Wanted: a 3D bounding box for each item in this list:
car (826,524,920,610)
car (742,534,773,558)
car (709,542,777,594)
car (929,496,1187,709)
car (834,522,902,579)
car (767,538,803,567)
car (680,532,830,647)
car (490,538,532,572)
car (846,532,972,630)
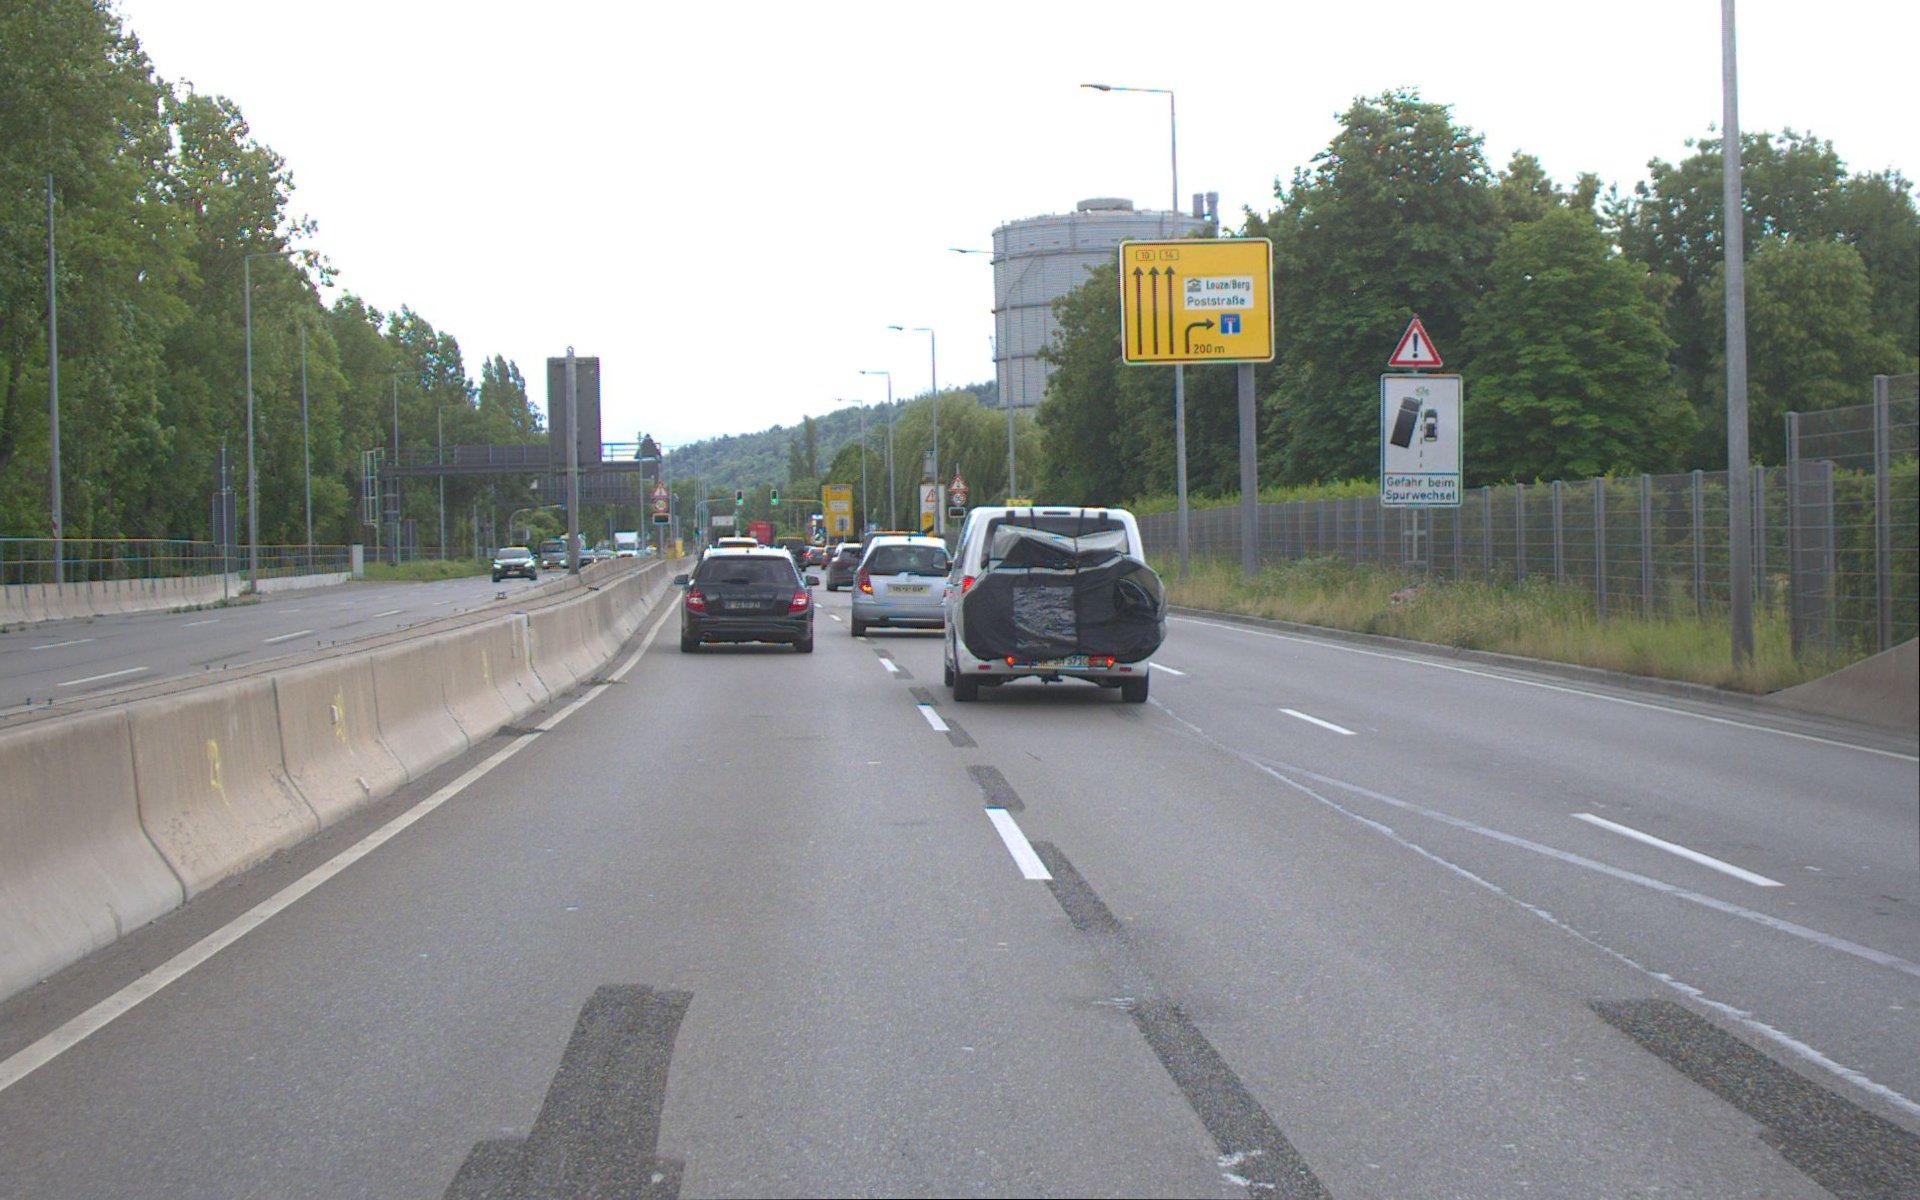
[{"bbox_3d":[-1.955,-0.750,76.203,1.993,1.853,4.001,0,1,-3],"label":"car"},{"bbox_3d":[-14.258,-3.816,241.499,1.993,1.648,4.001,0,1,-6],"label":"car"},{"bbox_3d":[-7.206,-1.046,114.380,1.993,1.667,4.000,1,0,0],"label":"car"},{"bbox_3d":[0.855,-0.035,33.660,1.993,1.852,5.642,2,1,-3],"label":"car"},{"bbox_3d":[-2.771,-1.501,103.106,1.993,1.663,4.001,0,1,-2],"label":"car"},{"bbox_3d":[-10.234,-2.794,200.921,1.993,1.648,4.001,0,1,-4],"label":"car"},{"bbox_3d":[-2.723,-0.176,46.402,1.815,1.429,4.066,-2,1,-1],"label":"car"},{"bbox_3d":[-18.832,-1.893,144.238,1.732,1.369,3.617,0,1,-7],"label":"car"},{"bbox_3d":[-0.844,-0.328,54.712,1.920,1.483,4.066,0,1,-2],"label":"car"}]
